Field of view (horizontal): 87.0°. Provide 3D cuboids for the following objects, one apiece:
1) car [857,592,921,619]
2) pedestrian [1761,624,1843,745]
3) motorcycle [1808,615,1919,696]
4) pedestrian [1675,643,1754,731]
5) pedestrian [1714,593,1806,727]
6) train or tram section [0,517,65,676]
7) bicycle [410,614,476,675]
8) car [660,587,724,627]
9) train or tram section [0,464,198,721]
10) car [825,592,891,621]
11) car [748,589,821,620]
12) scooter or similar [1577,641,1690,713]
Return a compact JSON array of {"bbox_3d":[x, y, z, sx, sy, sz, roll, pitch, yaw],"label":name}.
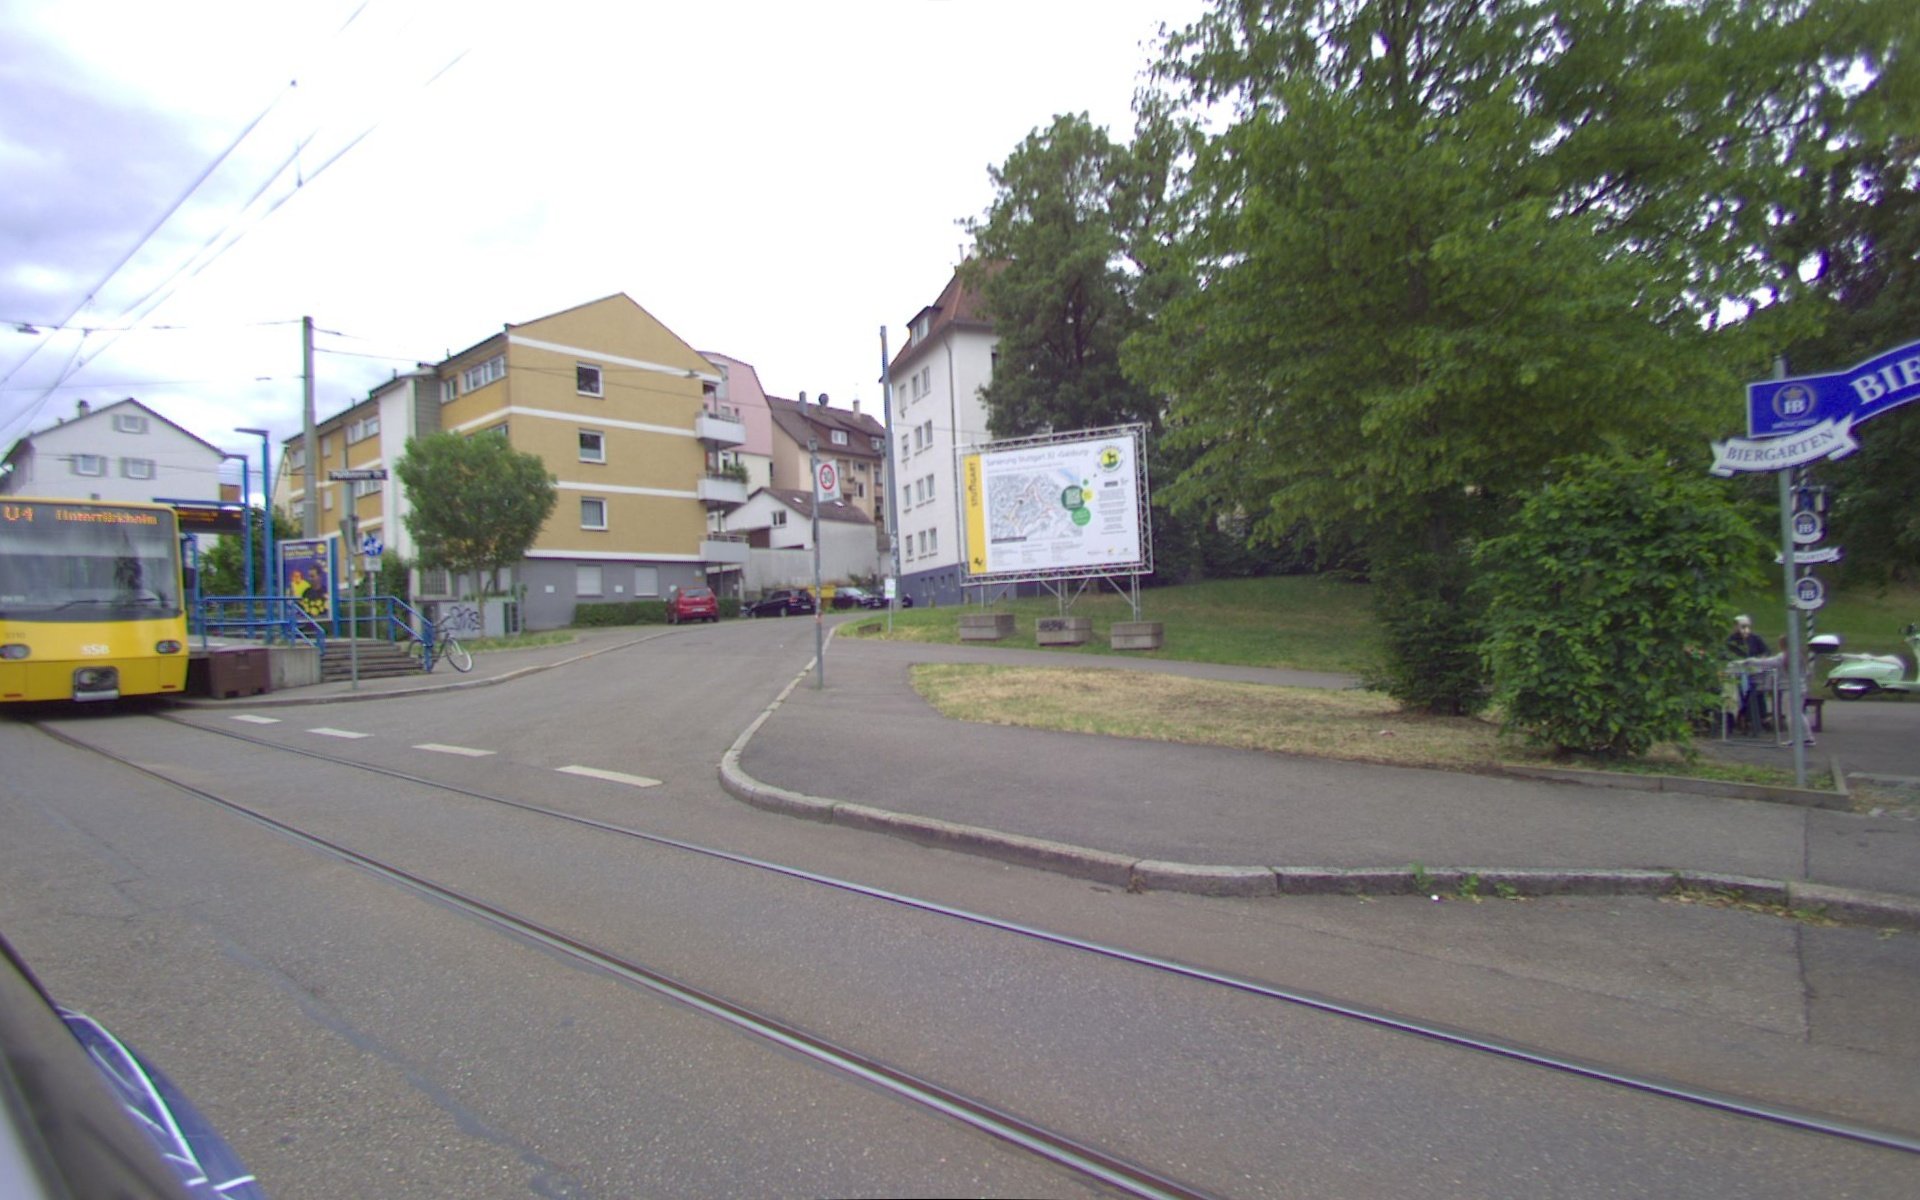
[{"bbox_3d":[-3.999,0.312,56.538,1.811,1.475,4.011,-1,0,-34],"label":"car"},{"bbox_3d":[9.786,0.970,11.771,0.475,1.352,0.520,-1,0,-5],"label":"pedestrian"},{"bbox_3d":[15.805,0.919,17.025,2.255,1.314,0.617,-1,0,32],"label":"motorcycle"},{"bbox_3d":[9.771,1.111,13.128,0.475,1.072,0.666,-1,0,-5],"label":"pedestrian"},{"bbox_3d":[10.375,0.760,13.149,0.613,1.677,0.666,-1,0,-5],"label":"pedestrian"},{"bbox_3d":[-26.930,0.011,27.082,12.121,3.664,2.795,-1,0,41],"label":"train or tram section"},{"bbox_3d":[-10.566,0.879,20.667,1.487,1.190,0.704,0,0,41],"label":"bicycle"},{"bbox_3d":[-10.795,0.280,40.553,1.810,1.475,4.013,-1,0,-24],"label":"car"},{"bbox_3d":[-17.692,-0.031,19.096,12.123,3.664,2.820,-1,0,41],"label":"train or tram section"},{"bbox_3d":[-5.512,0.340,54.365,1.811,1.475,4.011,-1,0,-34],"label":"car"},{"bbox_3d":[-8.750,0.230,50.258,1.813,1.475,4.007,-1,0,-40],"label":"car"},{"bbox_3d":[10.562,1.185,15.895,1.420,1.027,0.485,0,0,41],"label":"scooter or similar"}]
